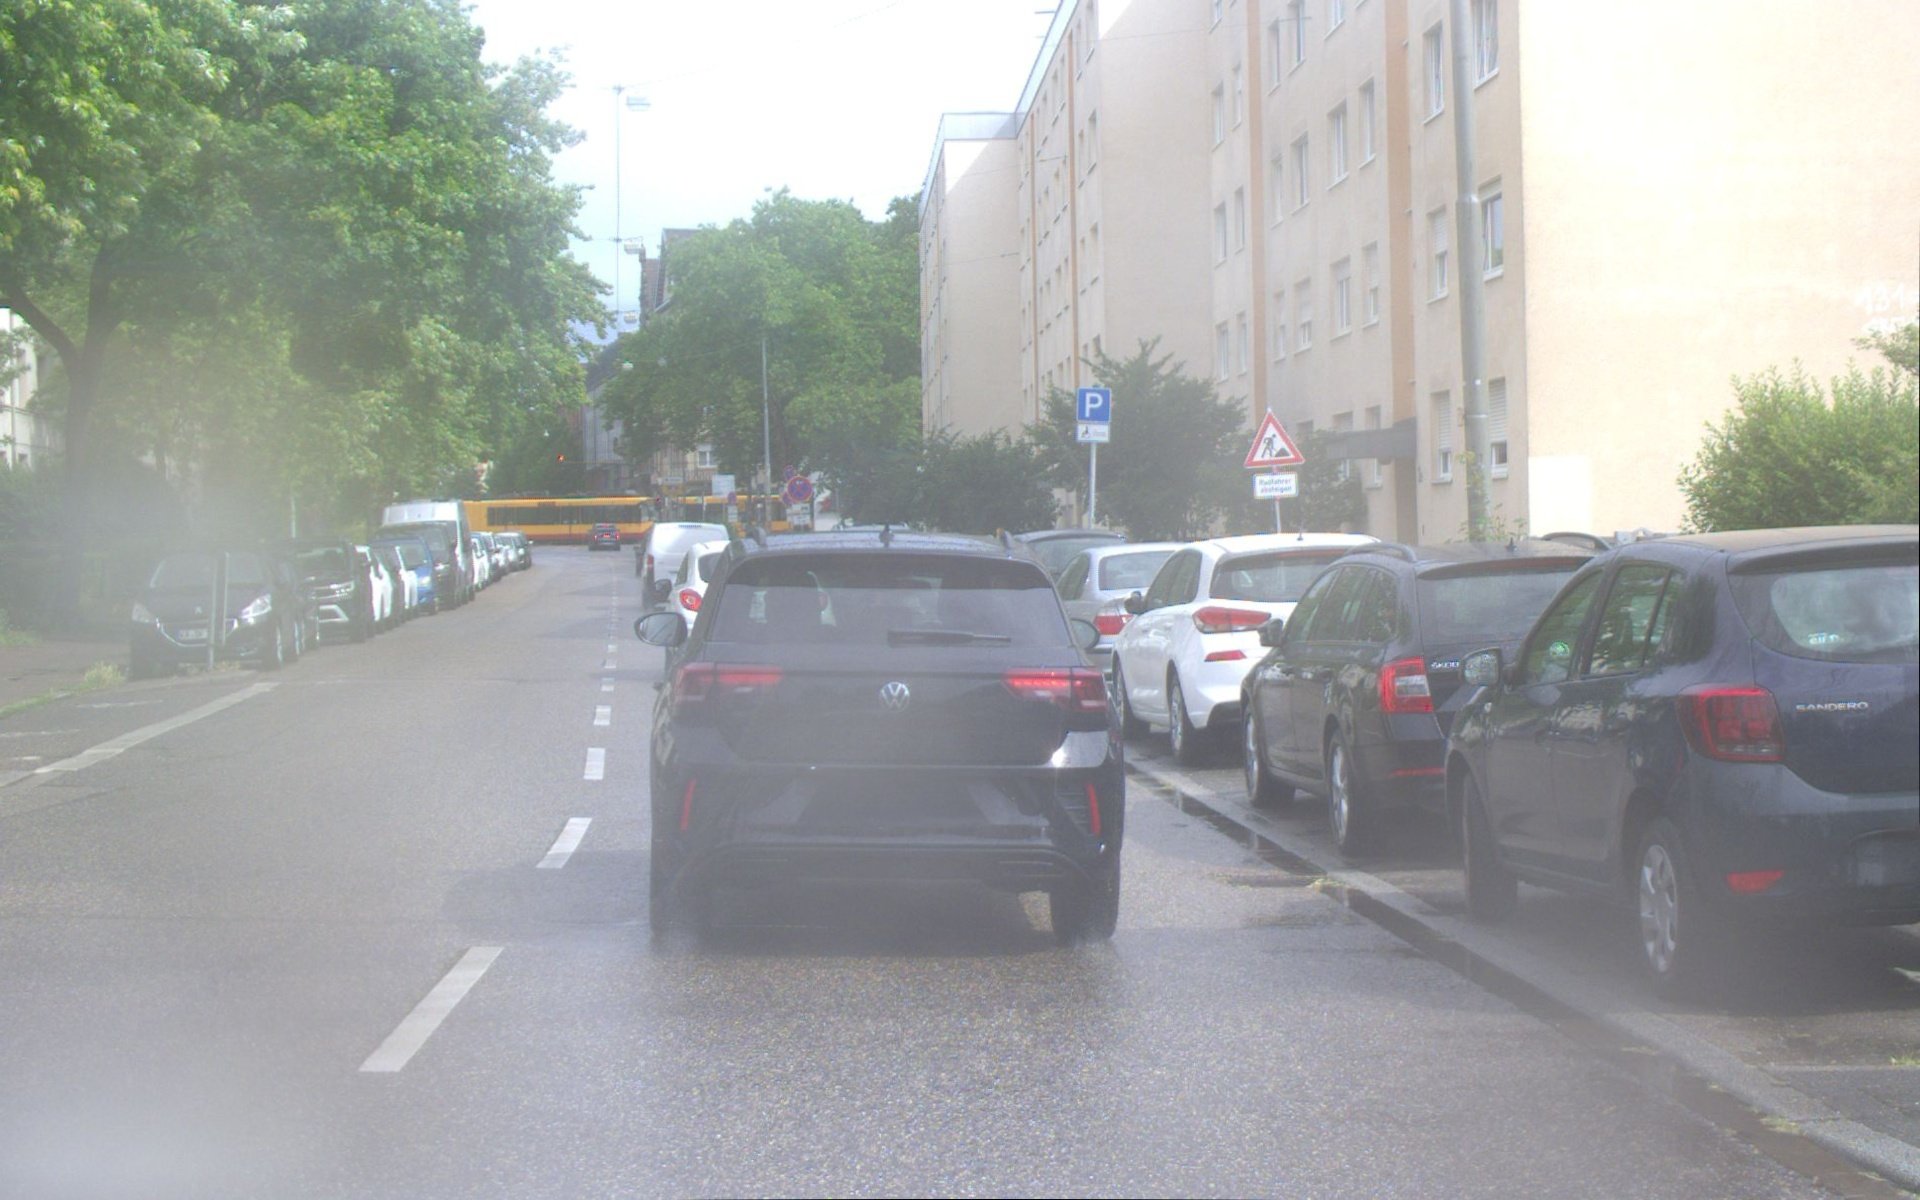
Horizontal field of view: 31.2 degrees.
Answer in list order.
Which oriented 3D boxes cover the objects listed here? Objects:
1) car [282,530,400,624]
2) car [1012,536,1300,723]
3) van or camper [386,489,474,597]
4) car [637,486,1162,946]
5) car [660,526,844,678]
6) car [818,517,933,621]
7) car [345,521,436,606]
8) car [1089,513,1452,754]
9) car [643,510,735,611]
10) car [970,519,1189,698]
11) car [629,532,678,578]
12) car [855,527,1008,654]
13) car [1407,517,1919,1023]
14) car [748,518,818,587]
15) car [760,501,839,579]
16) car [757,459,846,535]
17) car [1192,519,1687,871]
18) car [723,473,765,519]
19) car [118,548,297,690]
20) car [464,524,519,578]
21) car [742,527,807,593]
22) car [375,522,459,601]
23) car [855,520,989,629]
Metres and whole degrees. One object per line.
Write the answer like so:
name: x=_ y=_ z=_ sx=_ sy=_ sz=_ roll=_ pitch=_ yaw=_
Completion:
car: x=-10.087 y=-0.401 z=56.204 sx=1.585 sy=1.413 sz=3.921 roll=-2 pitch=1 yaw=-6
car: x=1.564 y=0.197 z=28.961 sx=1.716 sy=1.447 sz=4.260 roll=0 pitch=1 yaw=-6
van or camper: x=-12.833 y=-1.394 z=83.457 sx=1.802 sy=2.485 sz=5.022 roll=-2 pitch=1 yaw=-6
car: x=-0.288 y=0.403 z=14.453 sx=1.873 sy=1.640 sz=4.062 roll=1 pitch=0 yaw=-2
car: x=-2.162 y=0.008 z=36.592 sx=1.813 sy=1.498 sz=4.000 roll=1 pitch=0 yaw=-2
car: x=-1.480 y=-0.553 z=58.642 sx=1.604 sy=1.666 sz=4.033 roll=-2 pitch=1 yaw=-6
car: x=-11.650 y=-0.770 z=70.501 sx=1.585 sy=1.633 sz=3.921 roll=-2 pitch=1 yaw=-6
car: x=2.047 y=0.209 z=23.822 sx=1.748 sy=1.503 sz=4.112 roll=-1 pitch=0 yaw=-6
car: x=-5.803 y=-0.838 z=73.972 sx=1.836 sy=2.095 sz=4.000 roll=1 pitch=0 yaw=-3
car: x=1.134 y=0.033 z=34.366 sx=1.604 sy=1.656 sz=4.033 roll=0 pitch=2 yaw=-6
car: x=-10.703 y=-1.573 z=119.744 sx=1.604 sy=1.505 sz=3.549 roll=-2 pitch=1 yaw=-6
car: x=-0.424 y=-0.162 z=45.400 sx=1.695 sy=1.533 sz=4.033 roll=-2 pitch=1 yaw=-4
car: x=2.919 y=0.478 z=12.557 sx=1.756 sy=1.522 sz=4.001 roll=-2 pitch=1 yaw=-4
car: x=-4.743 y=-1.282 z=91.730 sx=1.604 sy=1.759 sz=4.033 roll=-2 pitch=1 yaw=-6
car: x=-3.855 y=-1.430 z=82.228 sx=1.604 sy=1.759 sz=4.033 roll=-2 pitch=1 yaw=-6
car: x=-3.572 y=-2.322 z=78.000 sx=1.841 sy=1.602 sz=3.676 roll=-3 pitch=1 yaw=-1
car: x=2.312 y=0.402 z=17.616 sx=1.604 sy=1.503 sz=4.161 roll=-3 pitch=1 yaw=-4
car: x=-8.969 y=-4.299 z=142.761 sx=1.665 sy=1.831 sz=4.001 roll=-2 pitch=1 yaw=-4
car: x=-8.796 y=0.184 z=40.437 sx=1.585 sy=1.500 sz=4.065 roll=-2 pitch=1 yaw=-6
car: x=-15.007 y=-1.574 z=110.326 sx=1.585 sy=1.633 sz=3.921 roll=-2 pitch=1 yaw=-6
car: x=-5.296 y=-1.159 z=98.069 sx=1.604 sy=1.759 sz=4.033 roll=-2 pitch=1 yaw=-6
car: x=-12.027 y=-0.876 z=76.283 sx=1.585 sy=1.633 sz=3.921 roll=-2 pitch=1 yaw=-6
car: x=-0.606 y=-0.404 z=51.363 sx=1.604 sy=1.500 sz=4.033 roll=-2 pitch=1 yaw=-6
